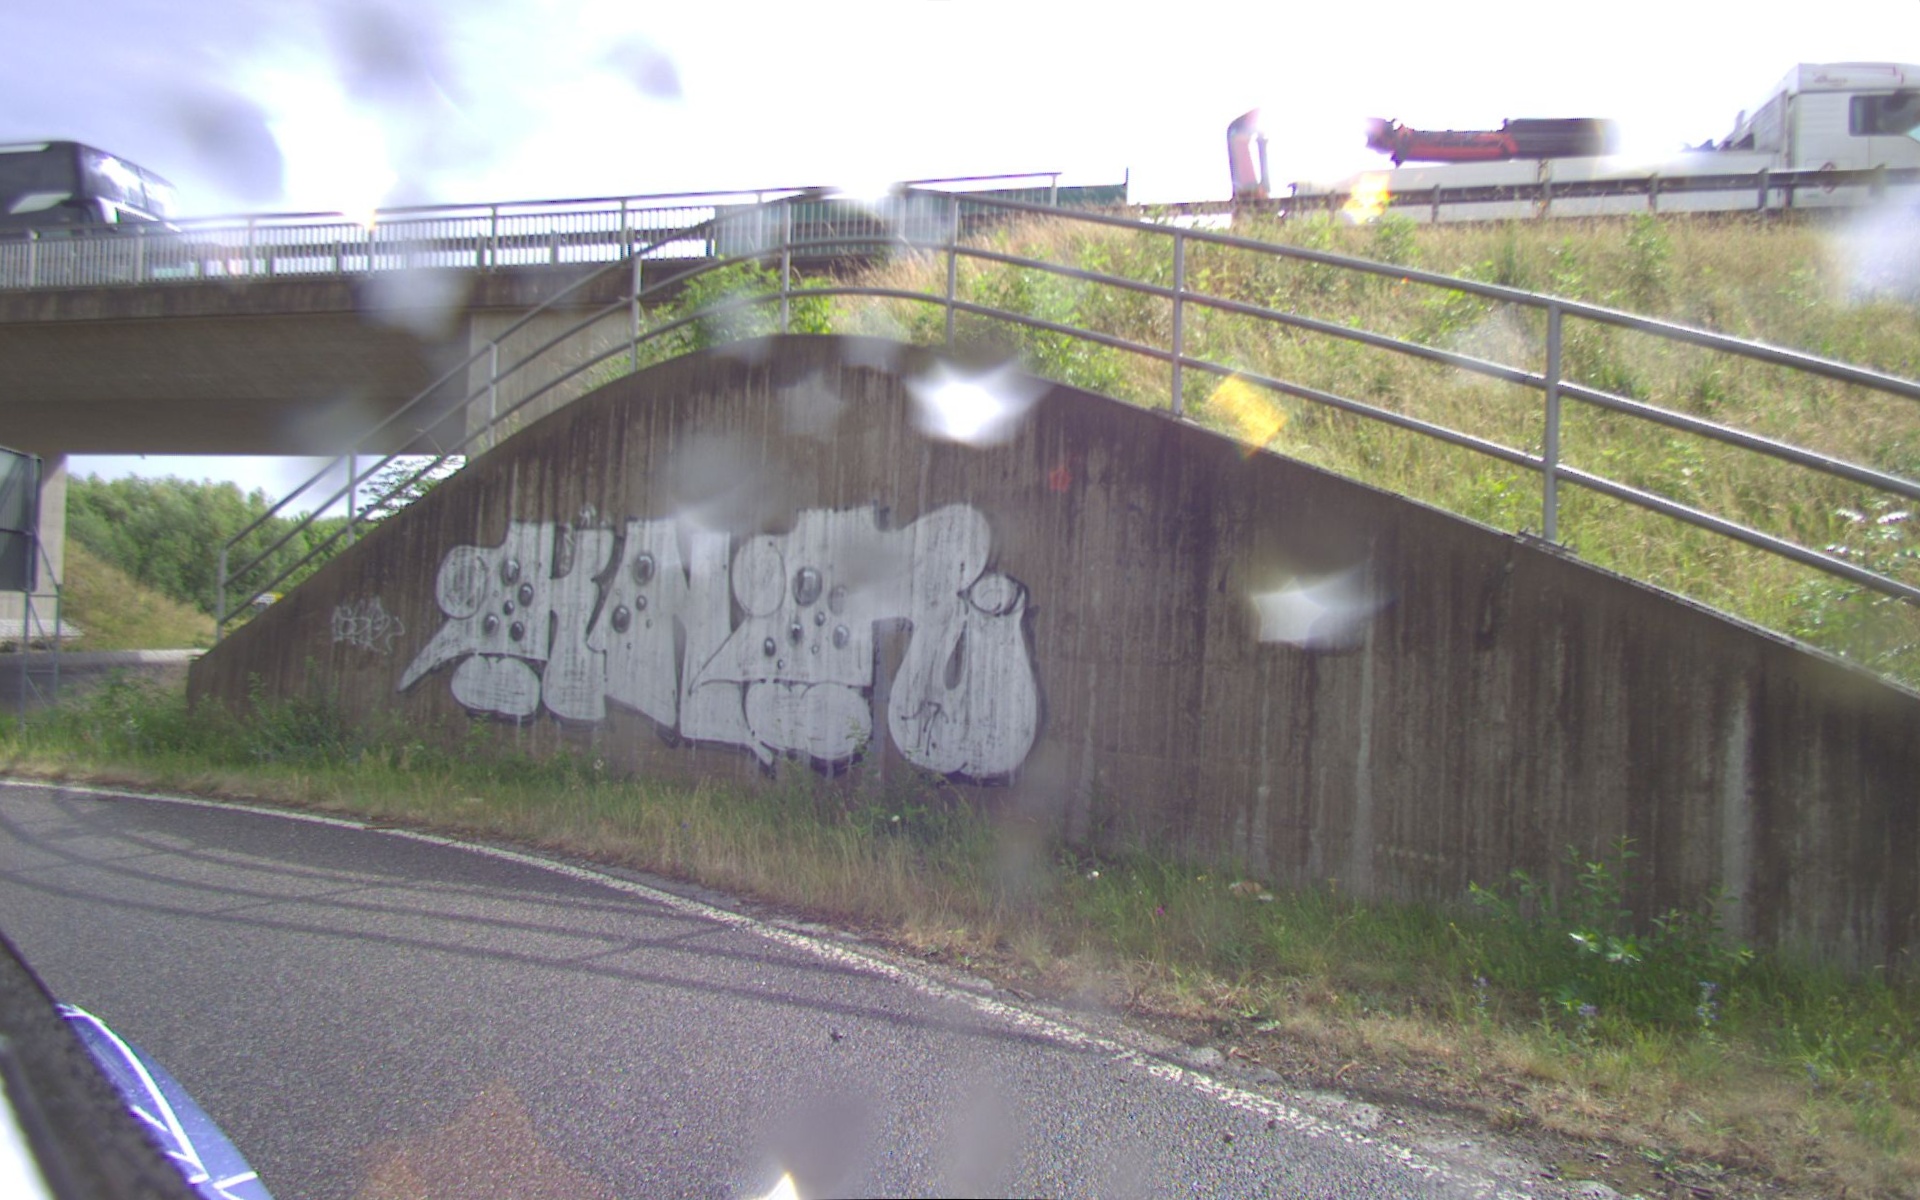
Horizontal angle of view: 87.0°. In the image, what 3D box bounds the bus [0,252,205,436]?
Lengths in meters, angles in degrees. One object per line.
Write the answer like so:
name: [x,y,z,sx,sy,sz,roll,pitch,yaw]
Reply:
bus: [-23.671,-5.370,21.360,14.282,3.102,2.609,2,0,5]
